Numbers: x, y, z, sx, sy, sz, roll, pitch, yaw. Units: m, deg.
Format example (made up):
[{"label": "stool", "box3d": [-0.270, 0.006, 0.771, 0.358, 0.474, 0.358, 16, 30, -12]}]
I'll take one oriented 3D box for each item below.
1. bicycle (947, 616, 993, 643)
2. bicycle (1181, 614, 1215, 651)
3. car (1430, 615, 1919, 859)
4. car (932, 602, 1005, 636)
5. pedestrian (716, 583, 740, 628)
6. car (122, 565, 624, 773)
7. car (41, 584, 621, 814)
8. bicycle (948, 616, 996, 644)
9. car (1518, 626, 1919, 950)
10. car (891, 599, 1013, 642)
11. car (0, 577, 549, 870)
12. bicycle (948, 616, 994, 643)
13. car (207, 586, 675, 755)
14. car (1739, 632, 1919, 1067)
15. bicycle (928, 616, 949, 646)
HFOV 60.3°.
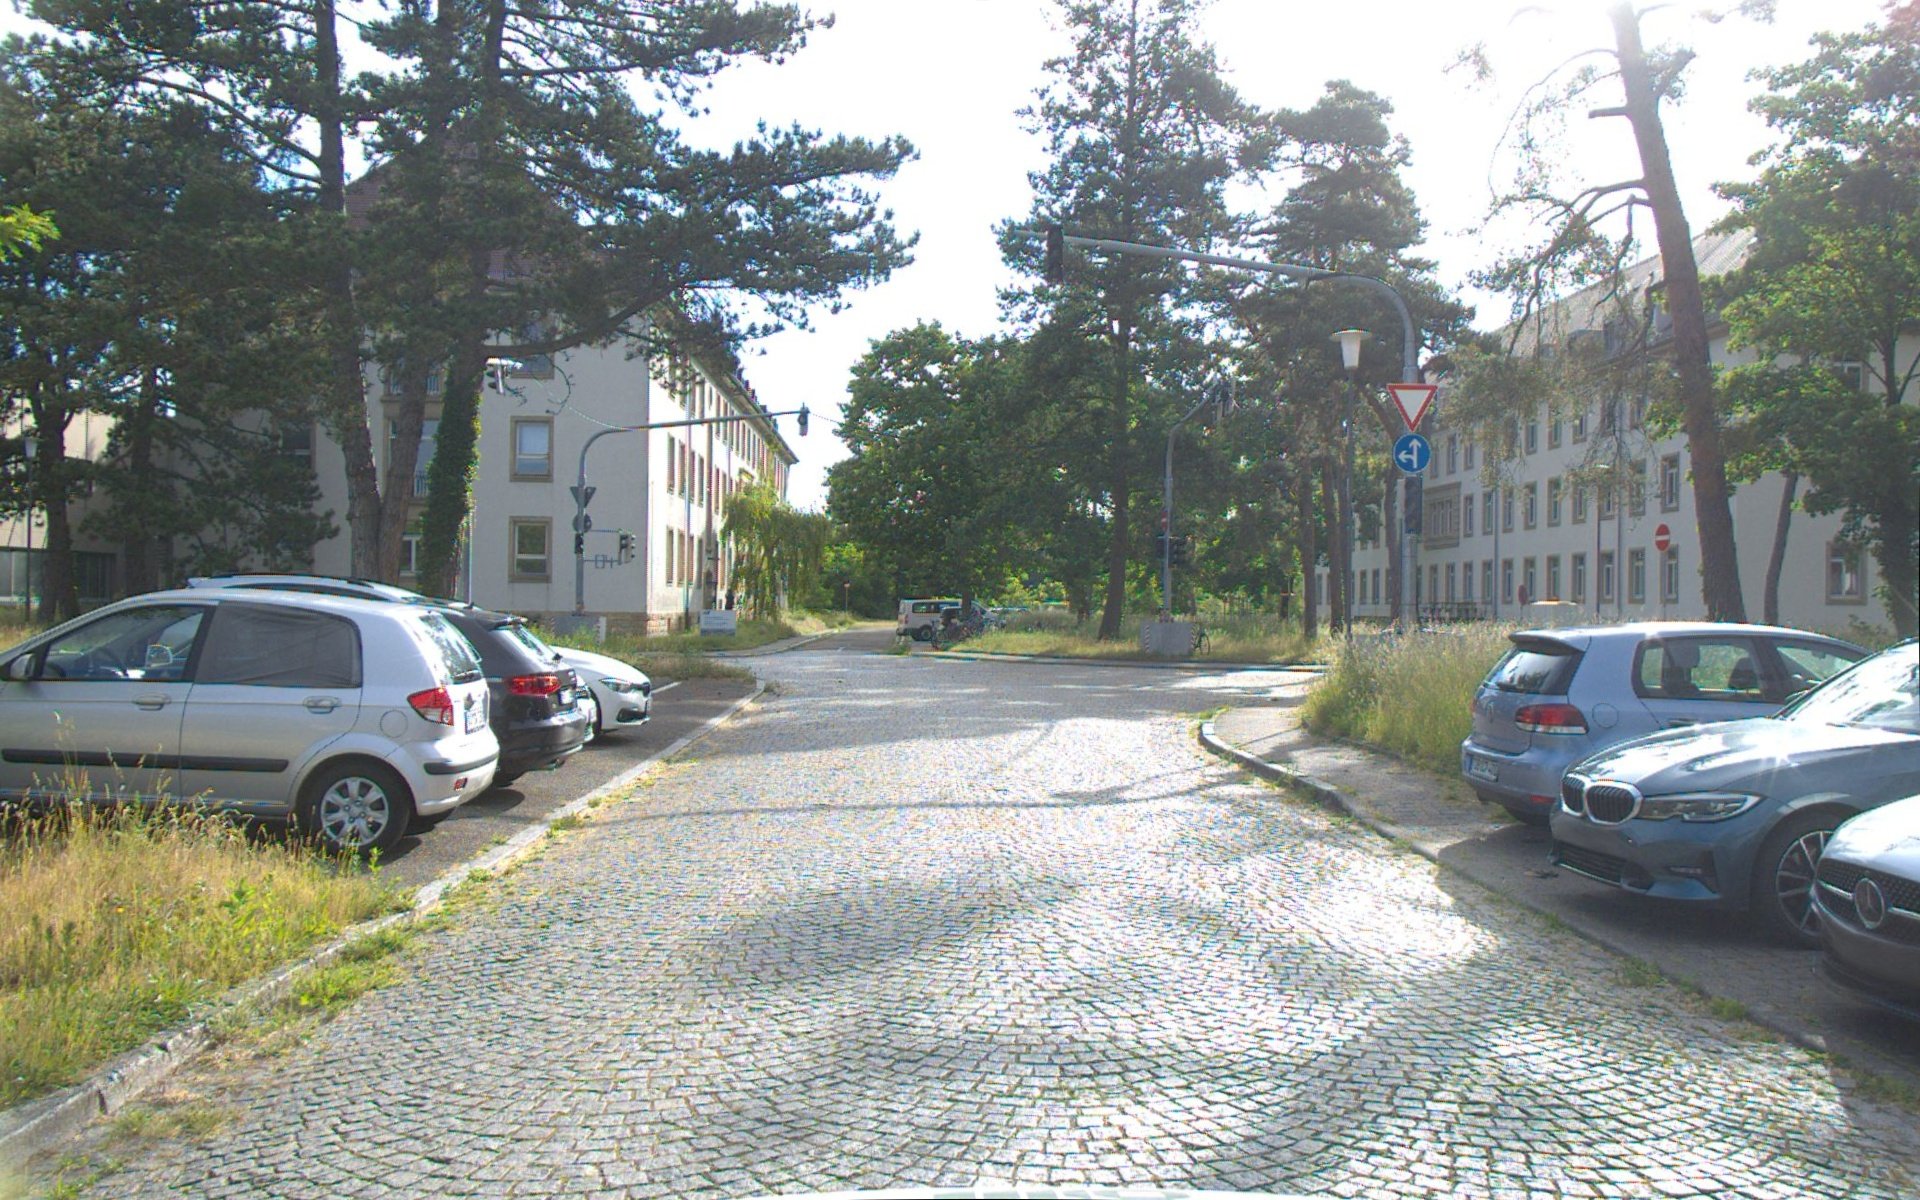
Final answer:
[{"label": "bicycle", "box3d": [0.389, 1.144, 64.207, 1.757, 1.016, 0.644, 0, 1, -3]}, {"label": "bicycle", "box3d": [6.978, 0.950, 48.544, 0.551, 1.016, 1.750, 0, 1, -6]}, {"label": "car", "box3d": [5.804, 0.874, 11.574, 4.454, 1.532, 1.931, 0, -1, -4]}, {"label": "car", "box3d": [0.388, 0.884, 74.840, 2.981, 1.491, 1.713, 1, -1, -15]}, {"label": "pedestrian", "box3d": [-10.429, 0.254, 74.407, 0.965, 1.998, 0.932, 1, -1, -3]}, {"label": "car", "box3d": [-5.361, 0.633, 15.605, 4.043, 1.627, 1.856, 3, -1, -7]}, {"label": "car", "box3d": [-4.734, 0.736, 12.933, 3.753, 1.454, 1.858, 3, -1, -3]}, {"label": "bicycle", "box3d": [0.453, 1.124, 62.466, 1.757, 1.016, 0.644, 0, 1, -3]}, {"label": "car", "box3d": [5.548, 0.894, 8.937, 4.420, 1.499, 1.893, 0, -1, -6]}, {"label": "car", "box3d": [-0.390, 0.970, 78.375, 5.411, 1.949, 2.244, 1, -1, -16]}, {"label": "car", "box3d": [-4.607, 0.697, 10.282, 3.610, 1.499, 1.848, 3, -1, -4]}, {"label": "bicycle", "box3d": [0.416, 1.137, 63.486, 1.757, 1.016, 0.644, 0, 1, -3]}, {"label": "car", "box3d": [-5.538, 0.731, 18.140, 4.497, 1.481, 1.902, 3, 1, -5]}, {"label": "car", "box3d": [5.533, 0.870, 6.157, 4.416, 1.499, 1.848, 0, -1, -3]}, {"label": "bicycle", "box3d": [-0.768, 1.103, 58.827, 0.713, 1.016, 1.798, 0, 1, -2]}]
